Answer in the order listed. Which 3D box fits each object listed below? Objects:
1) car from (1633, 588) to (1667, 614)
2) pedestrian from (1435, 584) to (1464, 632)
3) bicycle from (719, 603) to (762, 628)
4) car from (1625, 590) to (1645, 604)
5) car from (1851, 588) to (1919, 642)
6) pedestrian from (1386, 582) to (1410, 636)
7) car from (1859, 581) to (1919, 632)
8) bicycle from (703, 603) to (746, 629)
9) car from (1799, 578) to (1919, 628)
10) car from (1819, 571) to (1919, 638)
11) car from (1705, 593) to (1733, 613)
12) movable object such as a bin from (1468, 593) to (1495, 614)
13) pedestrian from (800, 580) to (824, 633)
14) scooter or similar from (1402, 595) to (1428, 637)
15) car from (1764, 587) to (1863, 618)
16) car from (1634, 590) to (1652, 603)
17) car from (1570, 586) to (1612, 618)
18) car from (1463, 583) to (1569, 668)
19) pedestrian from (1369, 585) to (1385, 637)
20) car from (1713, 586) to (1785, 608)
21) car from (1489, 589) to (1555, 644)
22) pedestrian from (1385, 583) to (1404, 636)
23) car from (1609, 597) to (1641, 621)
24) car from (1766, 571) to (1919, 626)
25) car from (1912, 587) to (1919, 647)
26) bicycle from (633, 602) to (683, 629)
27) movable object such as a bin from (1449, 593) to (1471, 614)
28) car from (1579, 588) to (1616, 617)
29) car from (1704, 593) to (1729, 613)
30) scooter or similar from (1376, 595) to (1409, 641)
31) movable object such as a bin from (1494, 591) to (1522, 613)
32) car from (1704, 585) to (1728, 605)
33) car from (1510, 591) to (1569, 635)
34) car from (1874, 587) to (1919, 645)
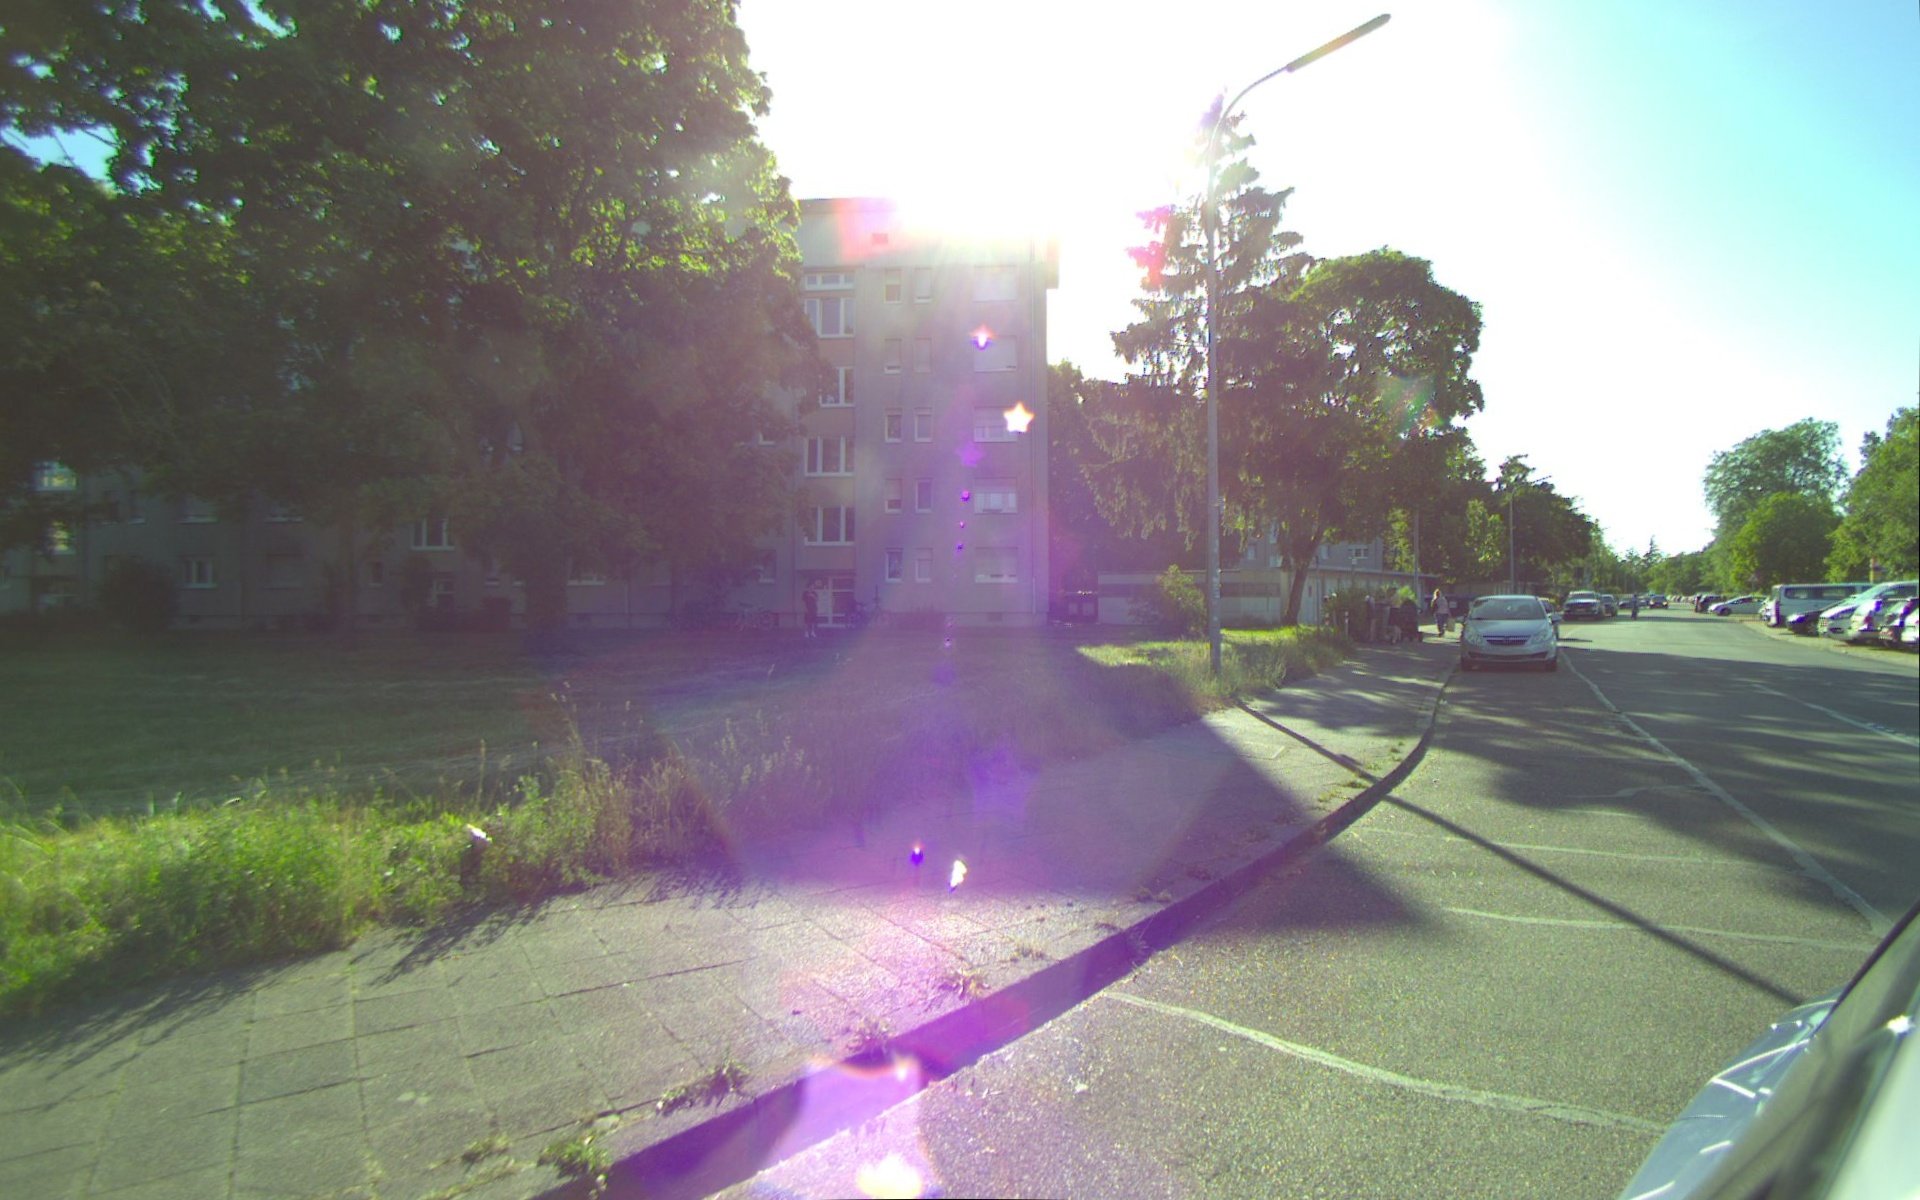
[{"bbox_3d":[44.712,0.071,65.526,1.723,1.616,3.763,-1,-1,36],"label":"car"},{"bbox_3d":[16.847,0.276,34.841,0.784,1.584,0.563,-3,-1,32],"label":"pedestrian"},{"bbox_3d":[-7.938,0.544,36.678,0.508,0.857,1.662,-3,-1,31],"label":"bicycle"},{"bbox_3d":[74.967,-0.277,112.394,1.723,1.490,3.763,-1,-1,36],"label":"car"},{"bbox_3d":[27.782,0.388,28.623,3.491,1.465,1.621,-3,-1,28],"label":"car"},{"bbox_3d":[12.990,0.260,30.007,0.481,1.584,0.588,1,2,42],"label":"pedestrian"},{"bbox_3d":[31.915,0.162,32.738,3.974,1.603,1.860,-3,-1,36],"label":"car"},{"bbox_3d":[-8.590,0.575,36.972,0.508,0.857,1.662,-3,-1,31],"label":"bicycle"},{"bbox_3d":[34.027,0.113,37.680,4.148,1.727,1.855,-3,-1,43],"label":"car"},{"bbox_3d":[29.435,0.086,30.687,4.763,1.945,2.059,-3,-1,31],"label":"car"},{"bbox_3d":[64.876,0.254,86.515,1.774,1.594,4.366,-2,-1,36],"label":"car"},{"bbox_3d":[33.945,0.228,65.861,1.035,1.364,1.251,-2,1,-42],"label":"movable object such as a bin"},{"bbox_3d":[-4.780,0.216,32.654,0.489,1.684,0.528,-3,-1,42],"label":"pedestrian"},{"bbox_3d":[13.819,0.468,30.714,0.620,1.242,0.895,0,1,31],"label":"scooter or similar"},{"bbox_3d":[47.527,0.166,56.437,3.972,1.552,1.809,-3,-1,35],"label":"car"},{"bbox_3d":[87.437,-0.392,129.580,1.723,1.616,3.763,-1,-1,36],"label":"car"},{"bbox_3d":[39.355,0.132,63.030,1.900,1.864,5.207,-3,-2,35],"label":"car"},{"bbox_3d":[11.342,0.467,20.664,1.721,1.562,3.750,-1,0,29],"label":"car"},{"bbox_3d":[12.332,0.316,29.942,0.359,1.522,0.496,1,1,29],"label":"pedestrian"},{"bbox_3d":[58.646,-0.209,75.297,3.964,1.475,1.547,-3,-1,29],"label":"car"},{"bbox_3d":[16.409,0.447,29.560,1.566,1.464,3.750,-1,0,29],"label":"car"},{"bbox_3d":[13.311,0.286,31.009,0.482,1.584,0.464,1,1,28],"label":"pedestrian"},{"bbox_3d":[49.320,0.649,75.076,1.798,1.614,3.972,-3,-1,35],"label":"car"},{"bbox_3d":[35.214,-0.036,40.466,4.463,2.002,1.975,-3,-1,35],"label":"car"},{"bbox_3d":[25.416,0.356,24.254,3.500,1.508,1.616,-3,-2,35],"label":"car"},{"bbox_3d":[-10.089,0.510,33.853,0.508,0.857,1.662,-3,-1,31],"label":"bicycle"},{"bbox_3d":[33.073,0.200,66.982,0.850,1.364,1.077,-2,1,-42],"label":"movable object such as a bin"},{"bbox_3d":[42.718,0.201,67.813,1.827,1.814,4.497,-3,-2,35],"label":"car"},{"bbox_3d":[70.707,0.258,94.609,1.808,1.703,3.601,2,1,36],"label":"car"},{"bbox_3d":[12.251,0.501,28.678,0.392,1.242,1.254,0,1,1],"label":"scooter or similar"},{"bbox_3d":[34.924,0.132,64.510,1.035,1.364,1.251,-2,1,-42],"label":"movable object such as a bin"},{"bbox_3d":[78.850,-0.528,105.544,1.900,1.965,4.451,2,1,37],"label":"car"},{"bbox_3d":[20.491,0.412,35.716,1.640,1.420,3.837,0,1,32],"label":"car"},{"bbox_3d":[26.385,0.389,26.339,3.494,1.508,1.619,-2,-2,30],"label":"car"}]
